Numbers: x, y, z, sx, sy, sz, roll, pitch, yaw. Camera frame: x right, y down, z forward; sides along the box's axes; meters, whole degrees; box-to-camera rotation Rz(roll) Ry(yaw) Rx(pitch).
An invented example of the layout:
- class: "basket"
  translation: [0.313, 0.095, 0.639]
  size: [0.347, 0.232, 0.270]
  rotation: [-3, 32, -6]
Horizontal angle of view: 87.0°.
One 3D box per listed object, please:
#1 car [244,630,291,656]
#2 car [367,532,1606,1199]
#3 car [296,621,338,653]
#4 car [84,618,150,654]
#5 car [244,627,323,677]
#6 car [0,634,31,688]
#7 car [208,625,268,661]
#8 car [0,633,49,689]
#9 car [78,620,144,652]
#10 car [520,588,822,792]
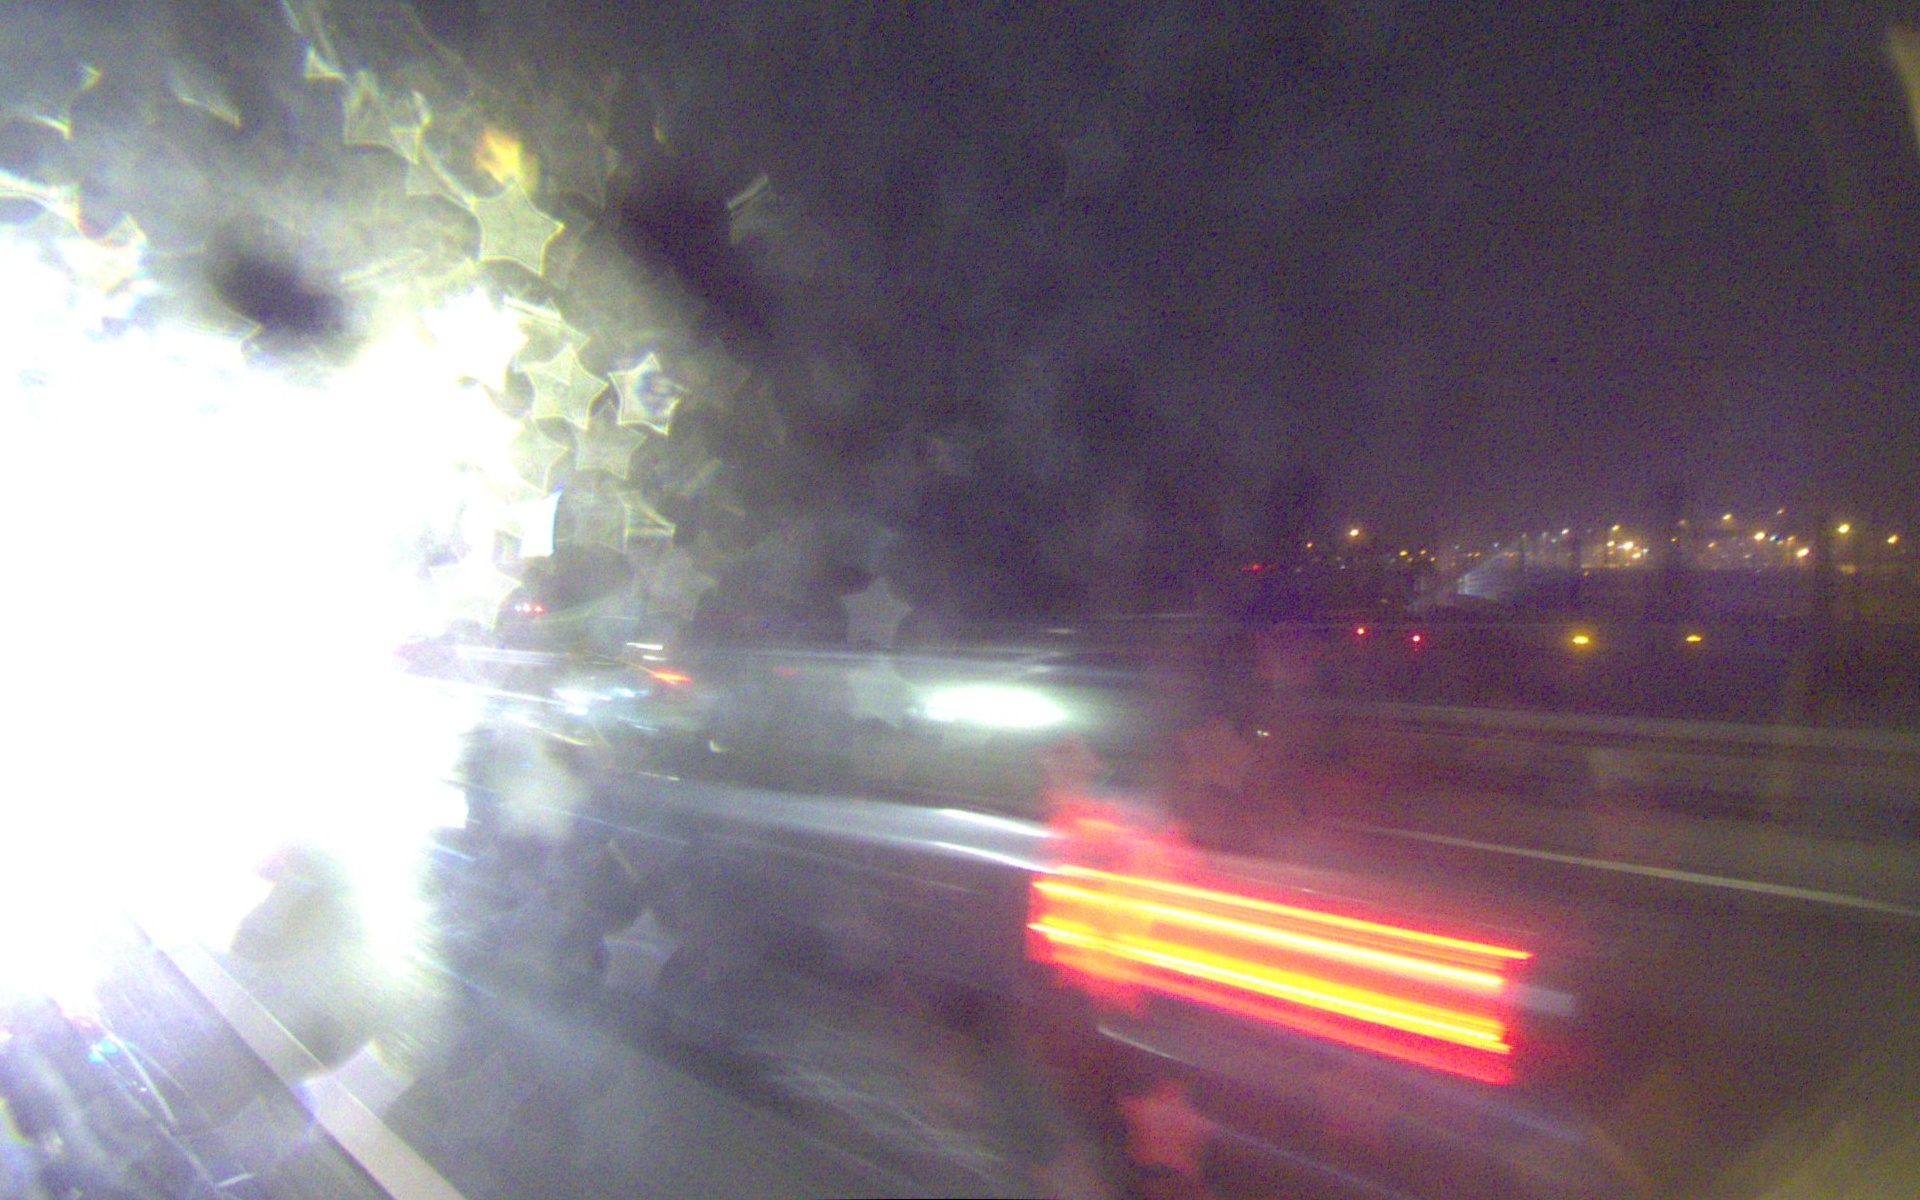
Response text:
- class: "car"
  translation: [-58.743, 3.628, 85.955]
  size: [1.840, 2.029, 4.009]
  rotation: [-1, -1, -11]
- class: "car"
  translation: [-0.238, 0.665, 3.560]
  size: [4.058, 1.450, 1.877]
  rotation: [-1, -1, 39]
- class: "car"
  translation: [-32.418, 1.854, 51.022]
  size: [1.742, 1.529, 3.960]
  rotation: [0, -1, -33]
- class: "car"
  translation: [-51.435, 2.186, 61.833]
  size: [1.838, 2.029, 4.013]
  rotation: [-1, -1, -21]
- class: "car"
  translation: [-21.135, 1.576, 31.535]
  size: [1.743, 1.438, 4.228]
  rotation: [2, -2, -37]
- class: "car"
  translation: [-31.762, 2.054, 33.319]
  size: [1.287, 1.538, 3.052]
  rotation: [-14, 9, -38]
- class: "car"
  translation: [-36.971, 2.177, 51.919]
  size: [1.971, 1.687, 4.631]
  rotation: [-1, -1, -29]
- class: "car"
  translation: [-42.587, 2.737, 45.232]
  size: [1.967, 2.027, 4.012]
  rotation: [-7, 6, -32]
- class: "car"
  translation: [-58.016, 2.437, 69.243]
  size: [1.839, 2.029, 4.010]
  rotation: [-1, -1, -13]
- class: "car"
  translation: [-2.841, 0.755, 9.597]
  size: [1.453, 1.597, 3.194]
  rotation: [0, -2, -43]
